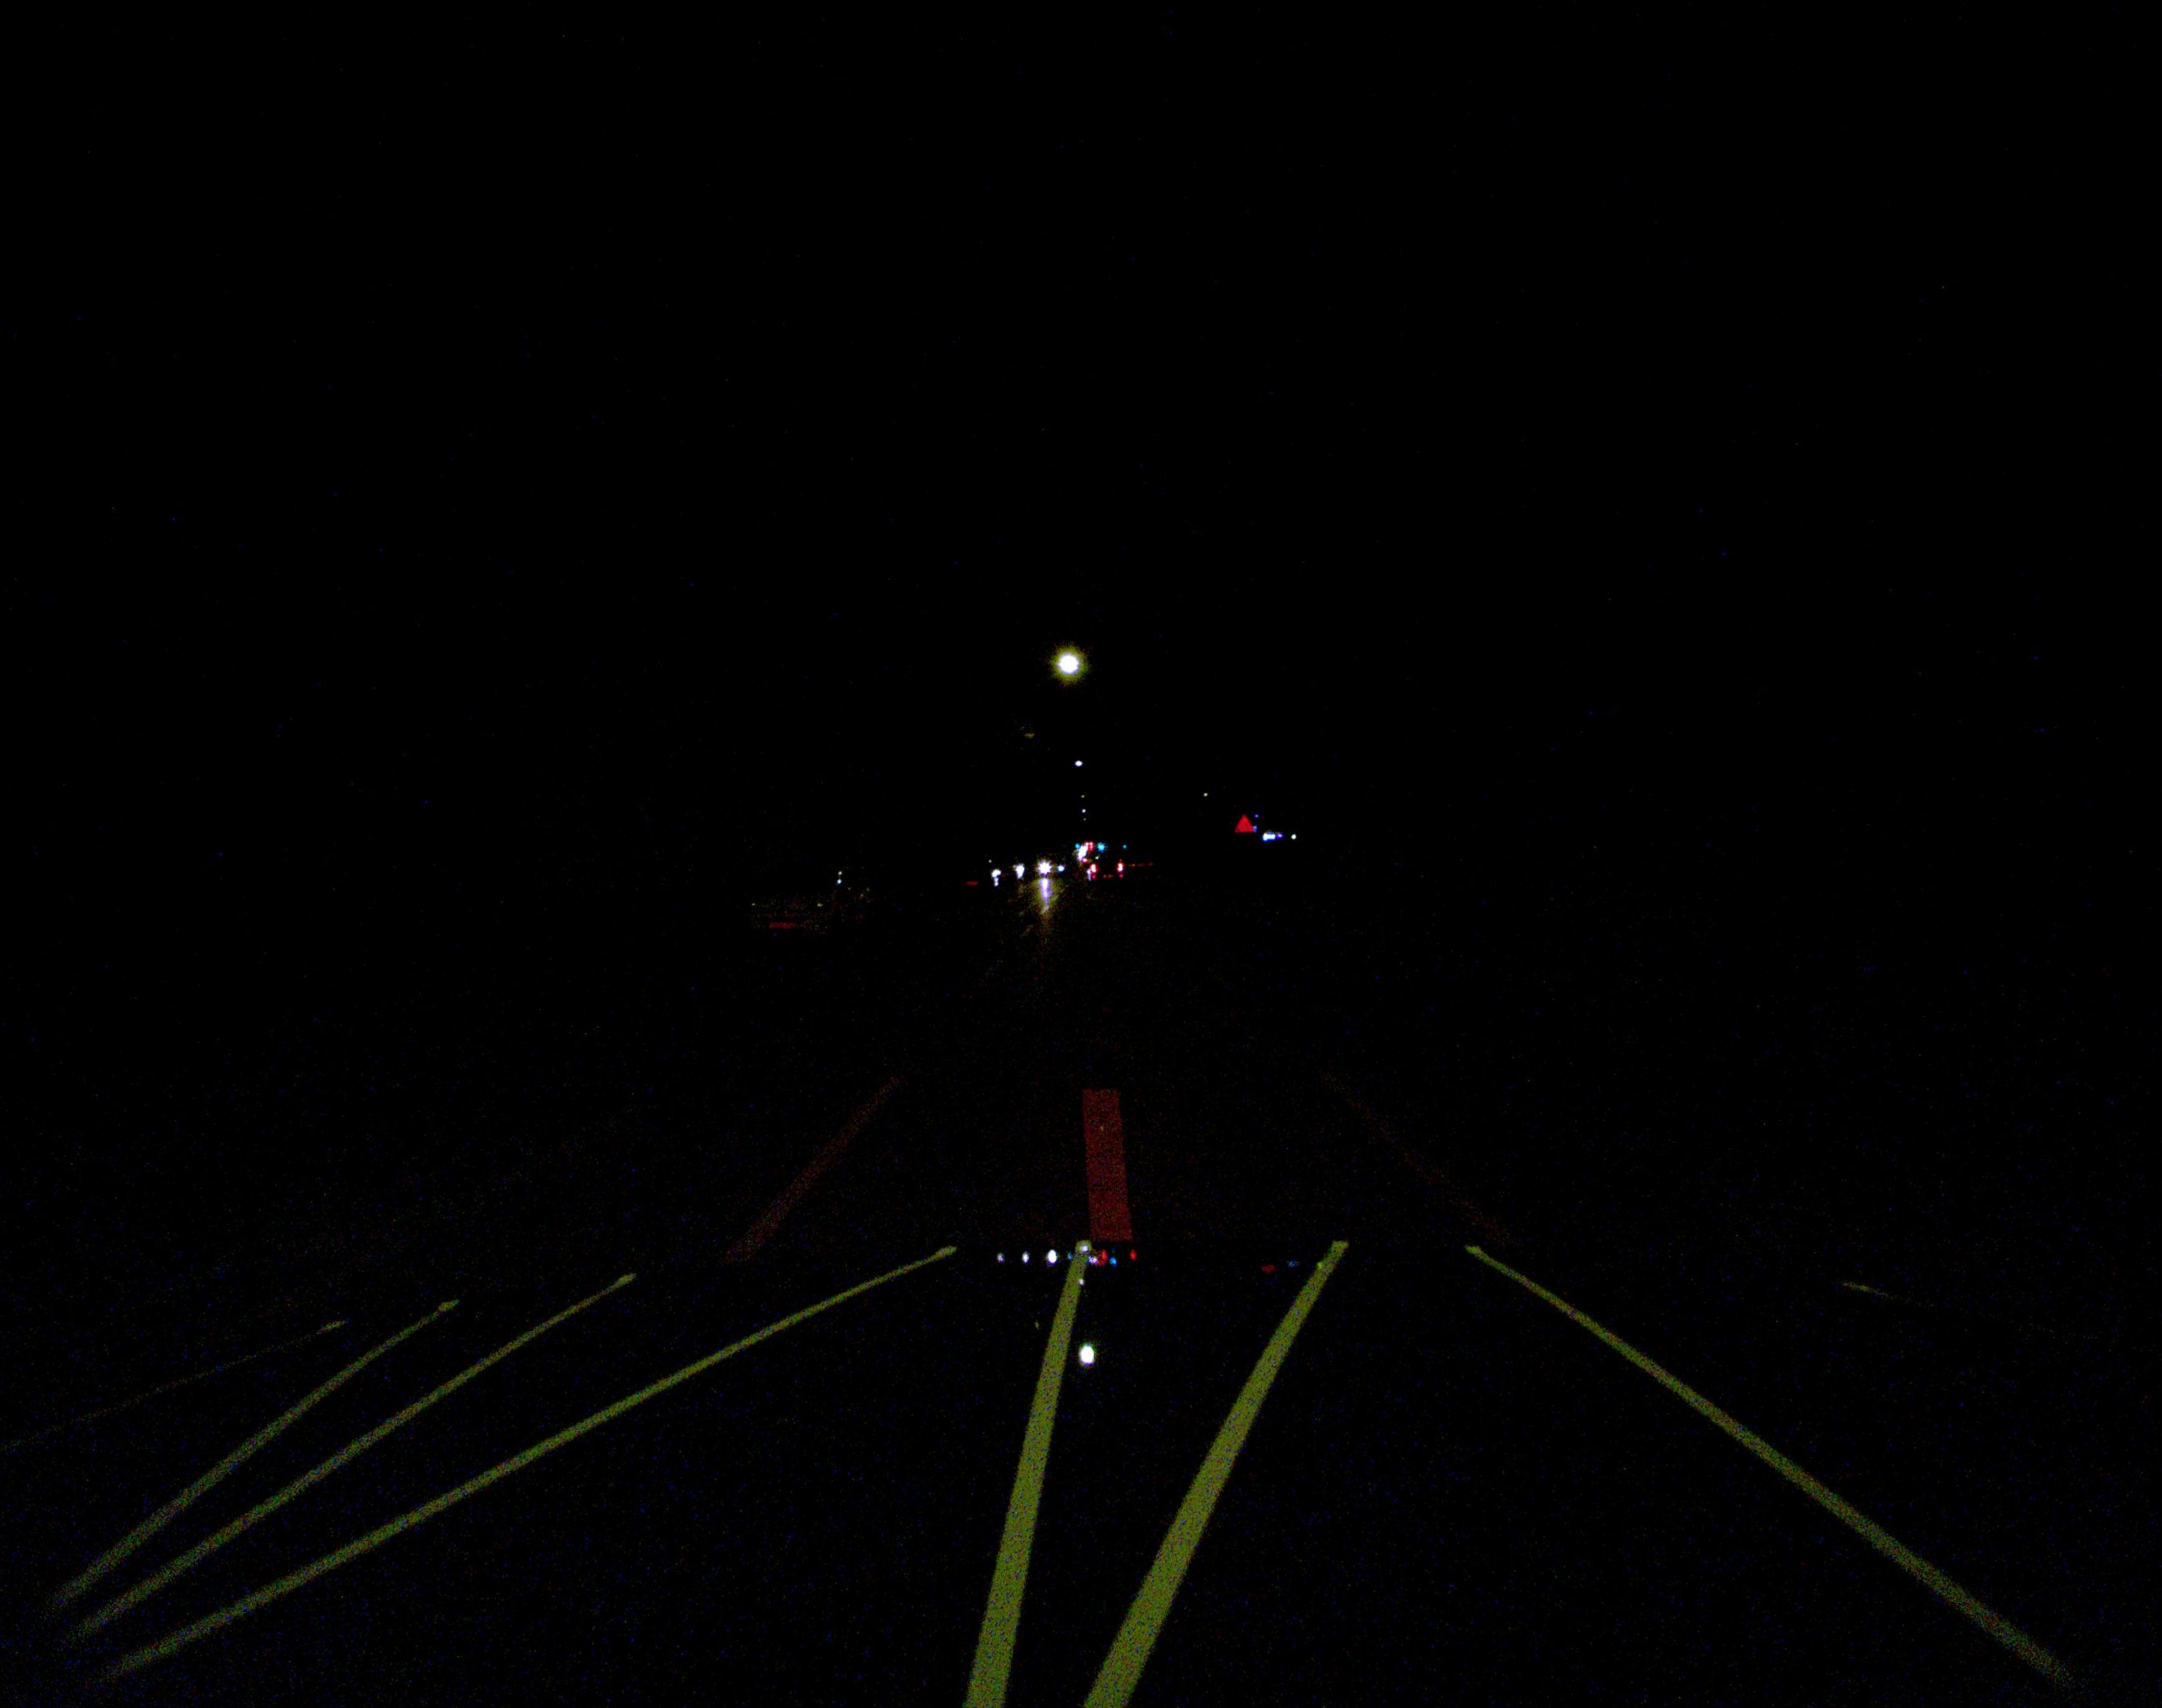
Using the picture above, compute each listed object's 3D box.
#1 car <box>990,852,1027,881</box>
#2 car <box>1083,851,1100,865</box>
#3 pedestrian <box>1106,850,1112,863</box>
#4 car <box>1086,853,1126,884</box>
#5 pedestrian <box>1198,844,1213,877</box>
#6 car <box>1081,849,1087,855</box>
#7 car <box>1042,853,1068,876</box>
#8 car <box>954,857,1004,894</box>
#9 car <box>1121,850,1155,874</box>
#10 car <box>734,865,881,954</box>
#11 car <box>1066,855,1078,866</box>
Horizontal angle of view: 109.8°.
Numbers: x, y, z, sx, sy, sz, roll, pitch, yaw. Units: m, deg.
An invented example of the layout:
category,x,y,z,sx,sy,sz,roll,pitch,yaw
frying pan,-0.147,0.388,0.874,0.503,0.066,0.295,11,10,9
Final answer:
category,x,y,z,sx,sy,sz,roll,pitch,yaw
car,-4.464,0.748,47.477,1.852,1.643,4.179,-2,0,0
car,1.426,0.509,98.603,1.903,1.581,3.661,-2,1,4
pedestrian,4.321,0.415,118.287,0.804,2.002,0.940,-2,1,1
car,1.235,0.766,38.984,1.755,1.433,3.487,-2,-2,-2
pedestrian,6.713,0.360,40.837,0.673,1.750,0.500,-2,1,1
car,0.975,-0.667,236.859,1.998,1.740,3.999,-2,1,1
car,-1.929,0.744,56.147,1.780,1.477,3.999,-2,1,-1
car,-4.473,0.903,33.945,1.742,1.489,3.890,-1,0,-1
car,3.885,0.510,52.079,1.998,1.477,3.999,-3,1,1
car,-5.275,1.007,15.100,1.611,1.500,3.486,0,0,1
car,-1.543,1.111,134.550,1.998,1.718,3.803,-2,1,1
